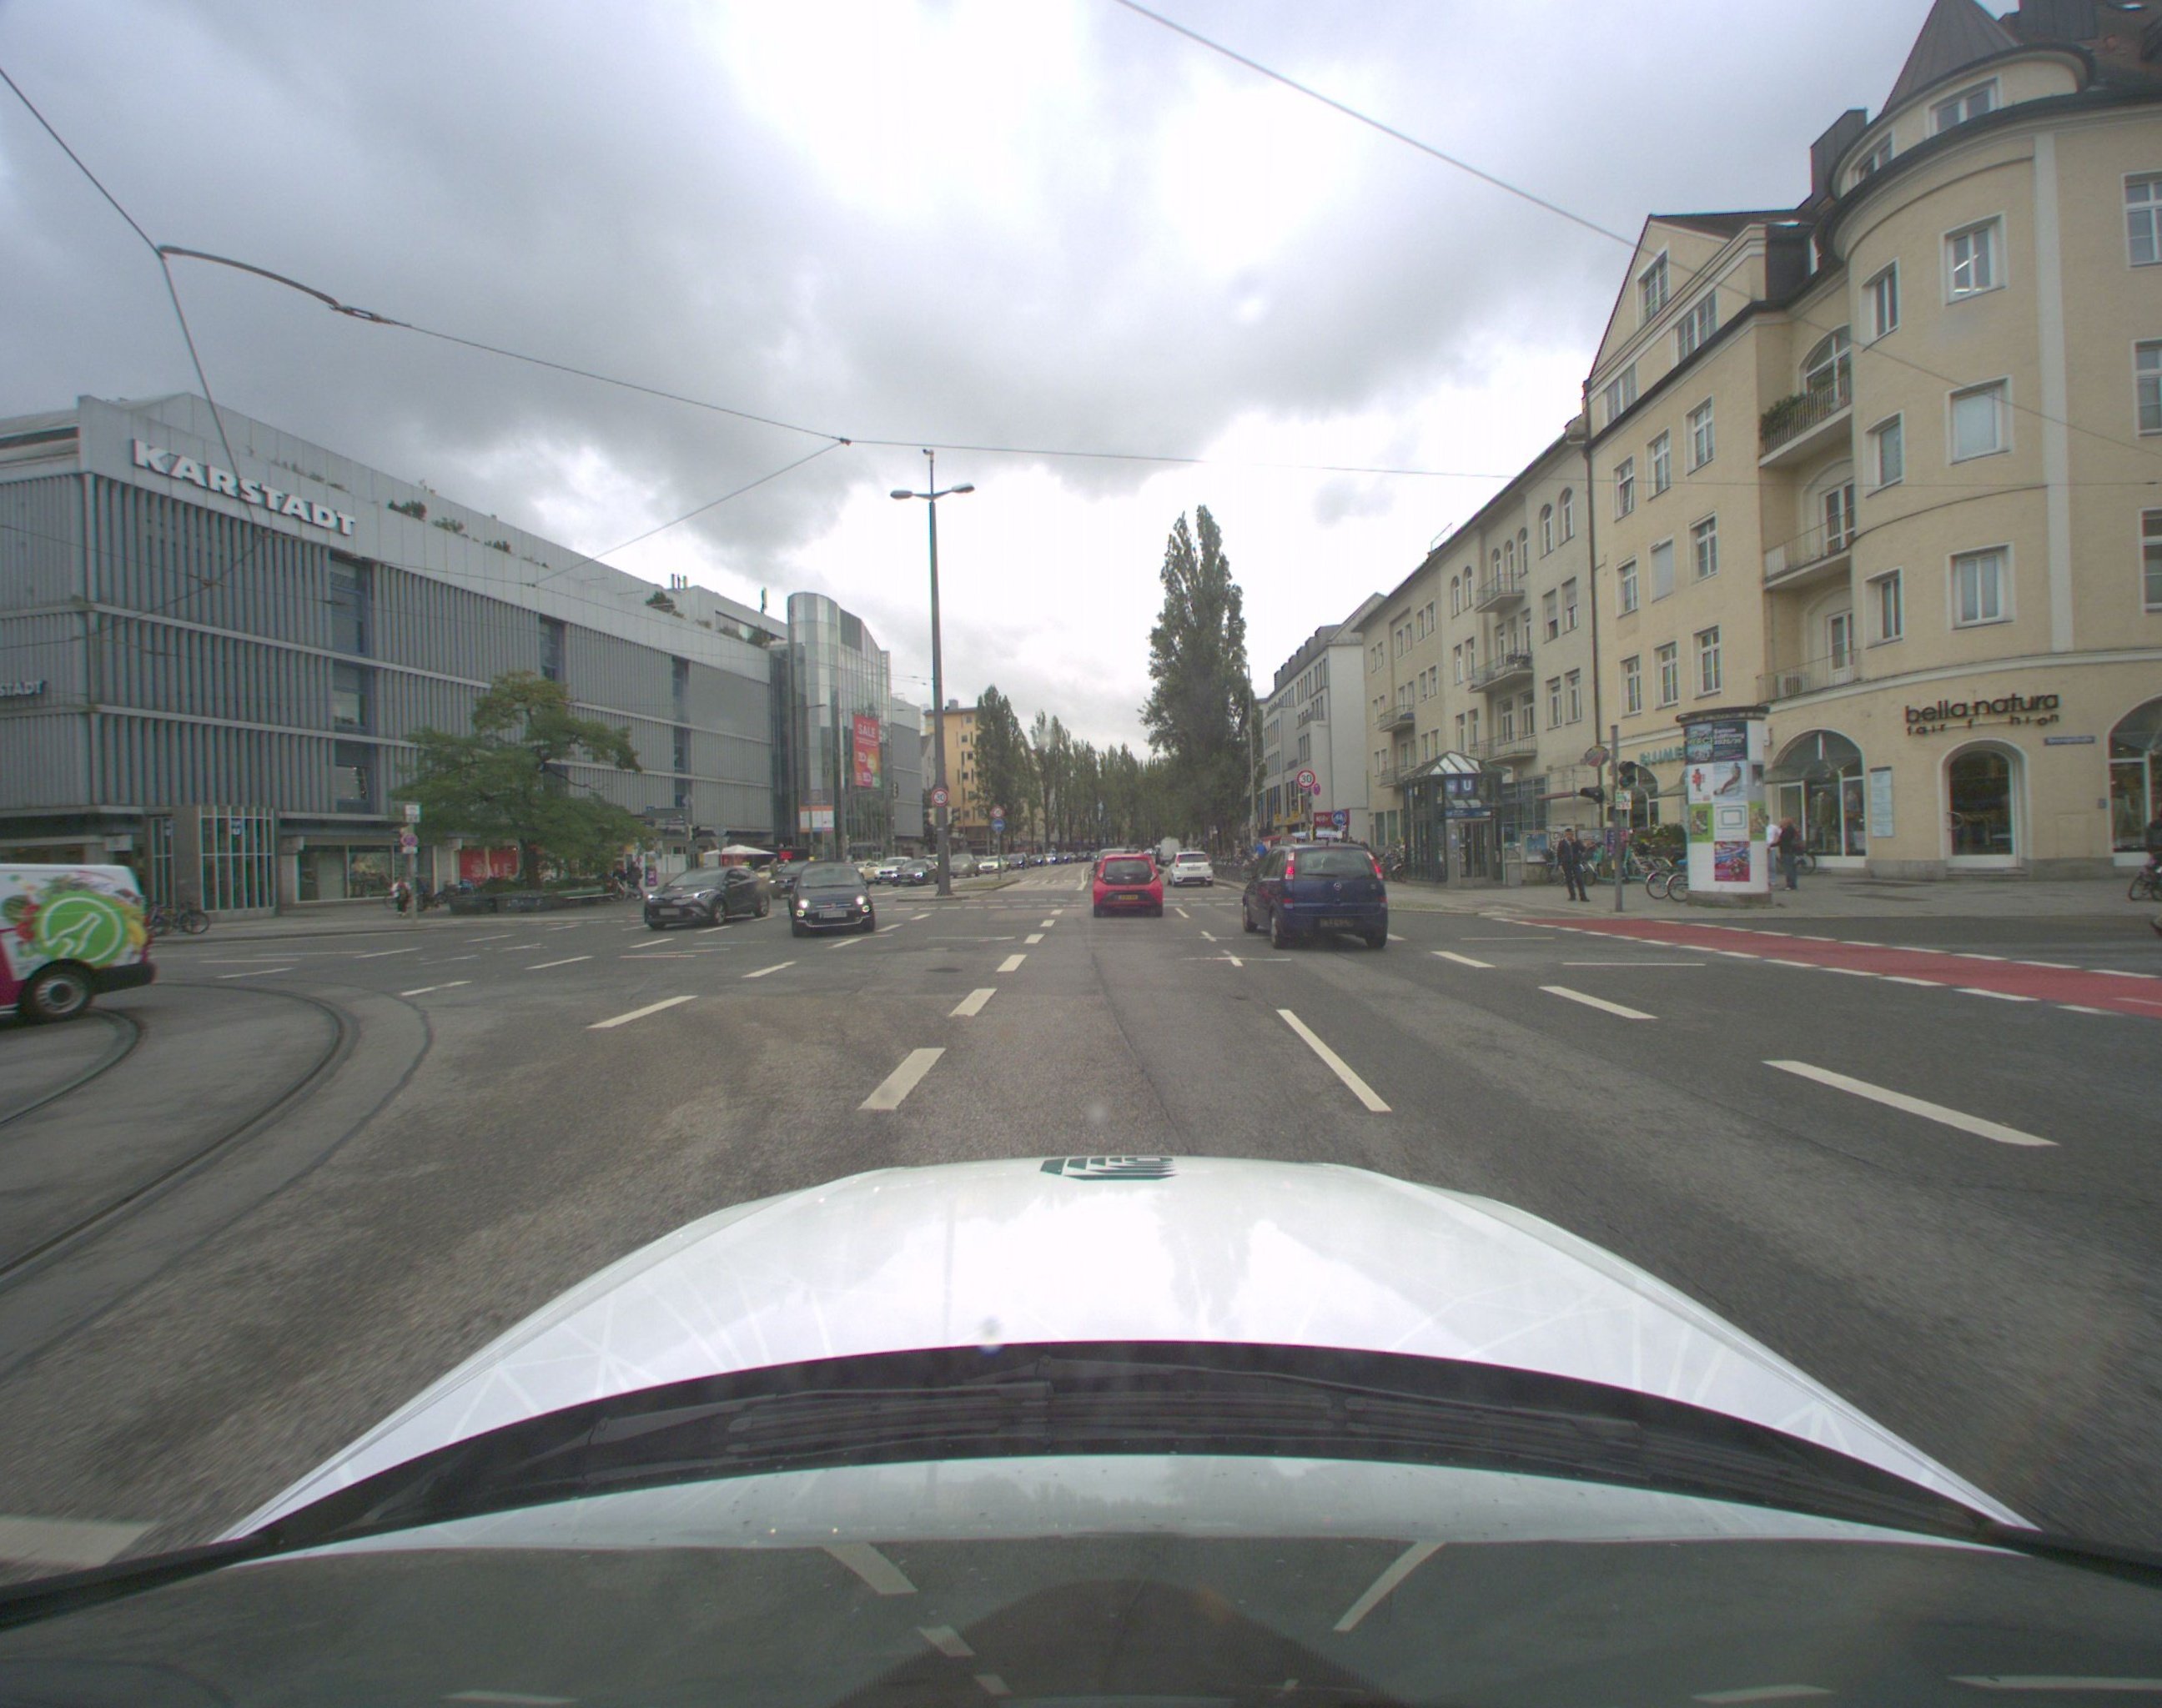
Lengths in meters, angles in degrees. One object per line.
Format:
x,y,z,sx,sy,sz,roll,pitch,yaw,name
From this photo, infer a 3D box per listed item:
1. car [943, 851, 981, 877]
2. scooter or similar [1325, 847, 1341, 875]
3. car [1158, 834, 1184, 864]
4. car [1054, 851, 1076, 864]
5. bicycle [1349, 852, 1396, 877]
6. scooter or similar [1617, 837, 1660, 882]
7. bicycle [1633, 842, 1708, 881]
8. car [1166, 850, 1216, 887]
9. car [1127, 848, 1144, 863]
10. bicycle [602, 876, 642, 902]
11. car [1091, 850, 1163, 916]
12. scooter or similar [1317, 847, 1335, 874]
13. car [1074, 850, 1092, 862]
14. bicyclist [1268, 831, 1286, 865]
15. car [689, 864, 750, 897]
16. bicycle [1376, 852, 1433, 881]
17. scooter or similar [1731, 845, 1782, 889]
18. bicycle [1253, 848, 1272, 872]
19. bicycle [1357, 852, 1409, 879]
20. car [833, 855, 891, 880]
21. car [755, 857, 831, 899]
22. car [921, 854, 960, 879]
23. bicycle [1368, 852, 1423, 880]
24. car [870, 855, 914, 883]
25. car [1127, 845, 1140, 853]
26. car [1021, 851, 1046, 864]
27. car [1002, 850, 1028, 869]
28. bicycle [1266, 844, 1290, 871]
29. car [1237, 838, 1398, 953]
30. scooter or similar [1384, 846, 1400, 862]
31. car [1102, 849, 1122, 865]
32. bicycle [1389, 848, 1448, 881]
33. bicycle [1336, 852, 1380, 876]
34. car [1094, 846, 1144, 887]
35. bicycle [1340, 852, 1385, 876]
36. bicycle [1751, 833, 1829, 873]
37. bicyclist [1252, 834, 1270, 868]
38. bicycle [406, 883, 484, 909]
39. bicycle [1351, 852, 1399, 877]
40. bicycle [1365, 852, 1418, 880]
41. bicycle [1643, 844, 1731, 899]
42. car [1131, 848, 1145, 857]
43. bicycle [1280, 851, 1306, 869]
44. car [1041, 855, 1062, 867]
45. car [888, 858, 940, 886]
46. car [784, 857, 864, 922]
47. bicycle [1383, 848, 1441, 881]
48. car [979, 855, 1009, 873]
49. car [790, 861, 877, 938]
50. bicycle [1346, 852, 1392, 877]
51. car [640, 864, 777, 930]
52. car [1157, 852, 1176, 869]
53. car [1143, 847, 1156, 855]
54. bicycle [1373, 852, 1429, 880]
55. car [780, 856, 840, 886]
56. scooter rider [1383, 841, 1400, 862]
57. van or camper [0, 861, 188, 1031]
-8.264,0.673,56.869,1.736,1.670,4.735,-2,0,2,car
11.049,0.284,35.728,0.297,1.176,1.285,-2,0,32,scooter or similar
8.643,-0.439,78.593,2.098,2.718,4.807,-2,0,3,car
-2.070,0.436,106.127,1.981,1.534,4.601,-2,0,11,car
12.067,0.421,33.719,1.748,0.964,0.453,-2,0,0,bicycle
15.689,0.157,22.944,0.287,1.227,1.151,-2,0,-7,scooter or similar
16.889,0.197,23.390,0.495,1.059,1.858,-2,0,-13,bicycle
4.587,0.581,34.306,1.693,1.426,3.498,-2,0,1,car
7.008,0.244,105.149,1.984,1.838,4.006,-2,0,6,car
-20.319,1.544,36.034,1.566,1.112,0.374,-2,0,5,bicycle
1.107,0.659,19.829,1.598,1.461,3.132,-1,0,3,car
10.873,0.283,36.094,0.360,1.176,1.356,-2,0,32,scooter or similar
0.277,0.284,119.755,1.983,1.691,4.931,-2,0,7,car
9.648,-0.291,40.147,0.611,1.657,1.252,-2,0,2,bicyclist
-19.413,1.376,43.943,1.994,1.536,4.399,-3,1,-11,car
11.758,0.443,29.630,1.832,0.964,0.509,-2,0,0,bicycle
16.218,0.314,19.554,0.812,0.994,0.597,-1,3,24,scooter or similar
10.157,0.318,45.667,0.611,1.265,2.521,-2,0,3,bicycle
11.926,0.452,32.139,1.832,0.964,0.509,-2,0,0,bicycle
-15.064,0.898,56.376,1.981,1.508,4.649,-2,0,11,car
-12.592,1.007,35.897,1.776,1.662,4.002,-1,0,2,car
-12.735,1.095,74.242,1.983,2.013,5.533,-2,1,6,car
11.880,0.439,30.781,1.832,0.964,0.509,-2,0,0,bicycle
-11.476,0.899,49.701,1.692,1.596,4.000,-2,0,1,car
11.188,-1.063,173.320,1.979,1.691,4.431,-2,0,14,car
-5.320,0.394,91.805,1.834,1.382,4.611,-2,0,8,car
-6.420,0.525,79.937,1.928,1.739,4.591,-2,0,3,car
9.648,0.165,39.999,0.611,1.265,2.521,-2,0,3,bicycle
3.726,0.594,13.427,1.696,1.589,3.558,-2,0,2,car
18.791,-0.022,49.225,0.533,0.943,1.125,-3,0,0,scooter or similar
2.937,0.232,77.532,1.766,1.439,3.939,-2,0,1,car
11.785,0.369,28.471,1.832,1.094,0.509,-2,0,0,bicycle
12.126,0.421,35.633,1.747,0.964,0.369,-2,0,2,bicycle
1.619,0.495,35.252,1.986,1.618,4.001,-2,0,1,car
12.066,0.430,34.942,1.747,0.964,0.453,-2,0,2,bicycle
20.291,-0.034,23.355,0.493,1.089,1.864,-2,0,-4,bicycle
10.104,-0.189,45.670,0.759,1.869,1.133,-2,0,2,bicyclist
-31.079,2.046,39.820,3.468,1.156,1.064,-2,0,14,bicycle
11.975,0.423,33.216,1.748,0.964,0.453,-2,0,0,bicycle
11.926,0.455,31.312,1.832,0.964,0.509,-2,0,0,bicycle
13.932,0.397,18.739,1.561,1.160,0.525,-3,2,4,bicycle
11.468,-0.345,162.514,1.979,1.691,4.431,-2,0,14,car
12.117,0.366,46.544,1.399,0.963,0.369,-2,0,-4,bicycle
-4.125,0.997,114.015,1.981,1.534,4.477,-2,0,9,car
-9.080,0.947,44.561,1.987,1.411,4.167,-1,0,0,car
-6.942,0.910,22.268,1.502,1.534,2.831,-3,1,-7,car
11.782,0.366,29.038,1.832,1.094,0.509,-2,0,0,bicycle
-7.266,0.814,68.121,1.758,1.421,4.642,-2,0,2,car
-5.493,0.909,17.816,1.551,1.445,3.514,-2,0,-21,car
12.139,0.433,34.380,1.748,0.964,0.453,-2,0,0,bicycle
-9.869,1.071,21.973,1.659,1.508,4.281,-2,0,0,car
8.869,0.663,84.811,1.696,1.662,3.558,-2,0,2,car
14.725,-0.658,175.076,1.979,1.691,4.431,-2,0,14,car
11.843,0.441,30.161,1.832,0.964,0.509,-2,0,0,bicycle
-16.105,0.982,48.644,1.893,1.543,4.395,-2,0,2,car
18.786,-0.158,49.257,0.683,1.219,0.719,-3,0,0,scooter rider
-12.674,1.036,7.951,1.923,1.826,5.438,-2,0,-1,van or camper
